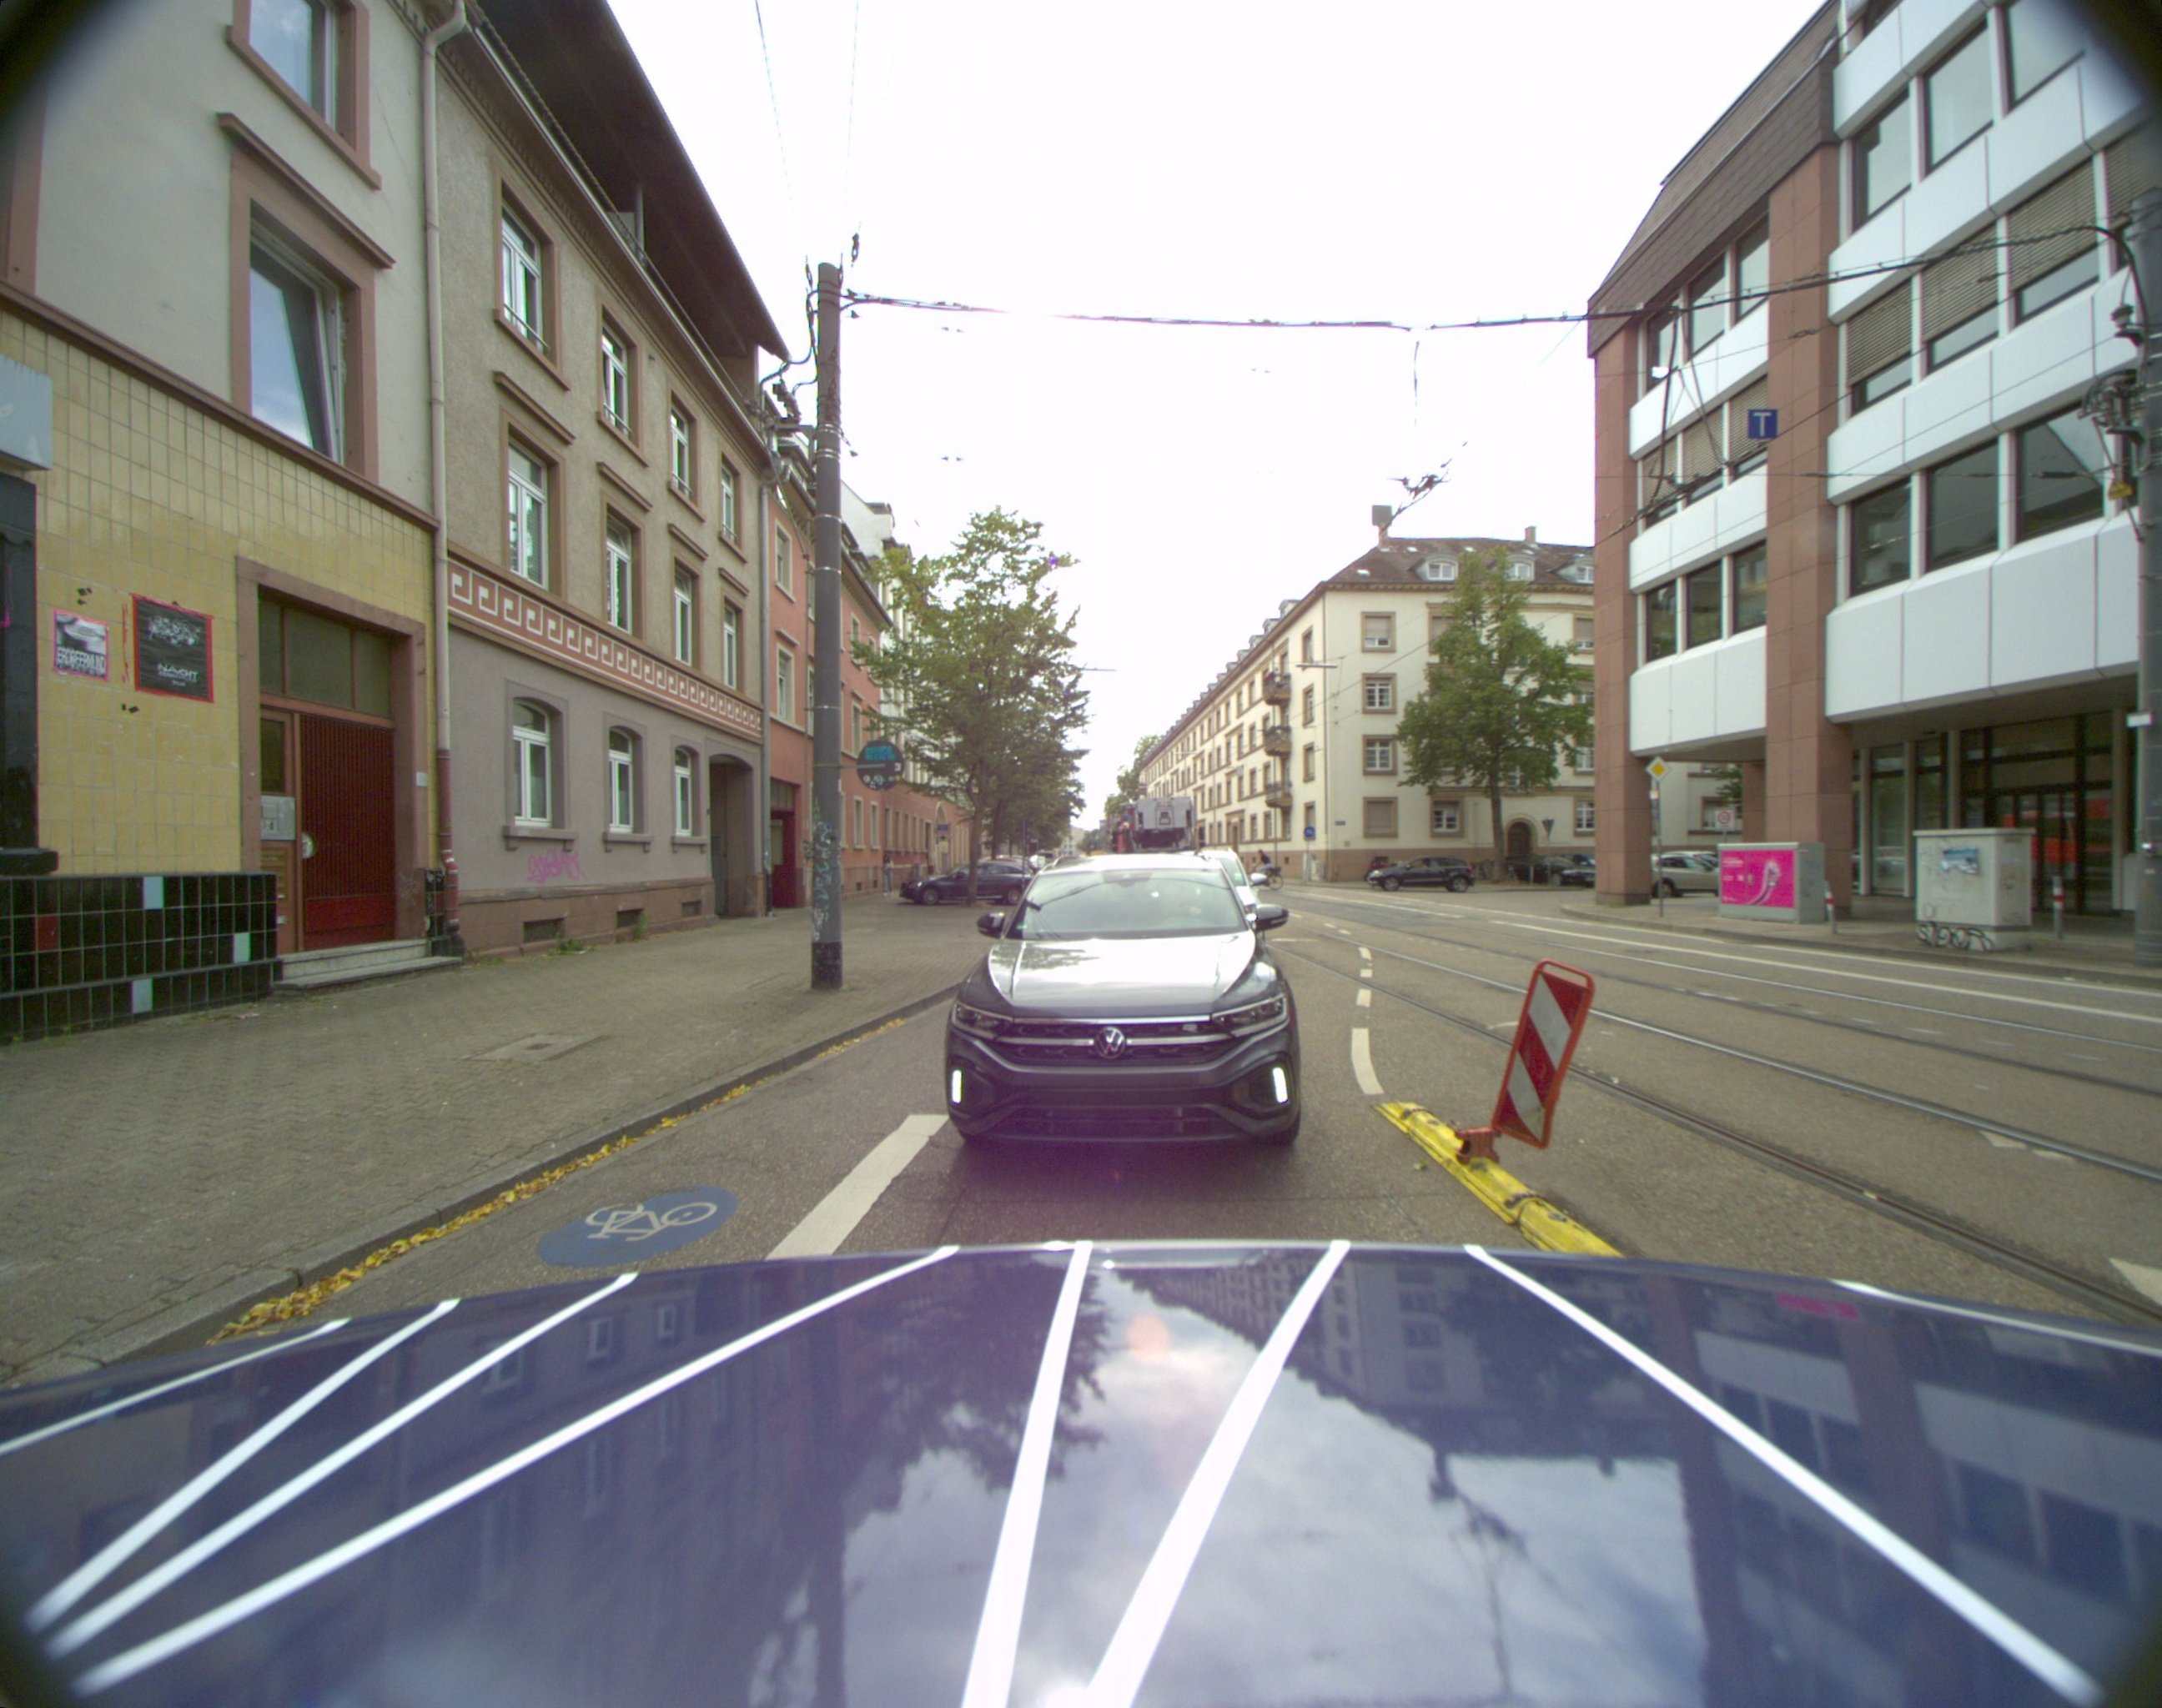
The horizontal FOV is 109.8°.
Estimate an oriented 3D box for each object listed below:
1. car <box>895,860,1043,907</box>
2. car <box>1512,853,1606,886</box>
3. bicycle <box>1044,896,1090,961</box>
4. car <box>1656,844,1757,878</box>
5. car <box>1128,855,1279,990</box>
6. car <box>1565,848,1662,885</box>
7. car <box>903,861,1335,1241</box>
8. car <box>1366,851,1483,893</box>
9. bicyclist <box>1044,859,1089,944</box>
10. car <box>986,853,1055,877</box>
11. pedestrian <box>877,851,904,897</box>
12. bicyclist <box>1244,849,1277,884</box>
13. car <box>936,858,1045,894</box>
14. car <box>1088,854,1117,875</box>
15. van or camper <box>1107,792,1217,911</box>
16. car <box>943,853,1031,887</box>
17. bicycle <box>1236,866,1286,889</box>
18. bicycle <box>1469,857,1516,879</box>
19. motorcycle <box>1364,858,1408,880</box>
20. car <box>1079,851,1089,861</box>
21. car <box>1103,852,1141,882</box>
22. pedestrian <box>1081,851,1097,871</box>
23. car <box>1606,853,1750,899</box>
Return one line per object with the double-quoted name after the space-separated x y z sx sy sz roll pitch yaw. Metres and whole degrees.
-3.784 0.961 25.709 4.635 1.464 1.786 1 0 -24 "car"
21.163 0.657 33.836 1.611 1.388 3.874 -1 0 -3 "car"
-0.238 1.361 14.190 0.714 1.012 1.800 -2 0 2 "bicycle"
28.490 0.298 34.745 1.592 1.453 3.524 -1 0 -3 "car"
1.666 0.844 11.380 1.772 1.582 4.283 -2 0 5 "car"
23.563 0.522 33.800 1.611 1.538 3.715 -1 0 -3 "car"
0.315 0.872 5.357 1.773 1.538 4.283 -2 0 5 "car"
13.674 0.712 30.481 4.041 1.528 1.776 -2 0 15 "car"
-0.254 0.858 14.188 0.715 1.498 0.919 -3 0 3 "bicyclist"
-4.399 0.808 55.506 4.635 1.688 1.913 1 0 -24 "car"
-7.316 0.758 29.240 0.732 1.678 0.926 3 0 -1 "pedestrian"
7.704 0.529 32.617 1.256 1.453 0.678 -1 0 26 "bicyclist"
-3.903 0.922 32.794 4.351 1.471 1.786 1 0 -24 "car"
1.542 0.783 56.236 1.911 1.478 3.999 -1 0 -2 "car"
2.506 -0.069 26.829 2.607 3.401 9.651 -1 0 -1 "van or camper"
-4.941 0.840 39.918 4.245 1.688 1.736 1 0 -24 "car"
7.726 1.018 32.611 2.007 0.959 0.674 -1 -1 25 "bicycle"
20.829 0.713 38.492 1.924 1.080 0.793 -1 0 -1 "bicycle"
15.357 0.767 38.276 1.924 1.080 0.793 -1 0 -1 "motorcycle"
0.569 0.389 150.609 1.899 1.806 4.000 -1 0 0 "car"
2.351 0.719 44.423 1.998 1.698 4.053 -1 0 1 "car"
0.732 0.601 70.225 1.016 1.831 1.003 0 1 40 "pedestrian"
19.186 0.685 24.460 3.650 1.380 1.611 -1 0 -9 "car"
